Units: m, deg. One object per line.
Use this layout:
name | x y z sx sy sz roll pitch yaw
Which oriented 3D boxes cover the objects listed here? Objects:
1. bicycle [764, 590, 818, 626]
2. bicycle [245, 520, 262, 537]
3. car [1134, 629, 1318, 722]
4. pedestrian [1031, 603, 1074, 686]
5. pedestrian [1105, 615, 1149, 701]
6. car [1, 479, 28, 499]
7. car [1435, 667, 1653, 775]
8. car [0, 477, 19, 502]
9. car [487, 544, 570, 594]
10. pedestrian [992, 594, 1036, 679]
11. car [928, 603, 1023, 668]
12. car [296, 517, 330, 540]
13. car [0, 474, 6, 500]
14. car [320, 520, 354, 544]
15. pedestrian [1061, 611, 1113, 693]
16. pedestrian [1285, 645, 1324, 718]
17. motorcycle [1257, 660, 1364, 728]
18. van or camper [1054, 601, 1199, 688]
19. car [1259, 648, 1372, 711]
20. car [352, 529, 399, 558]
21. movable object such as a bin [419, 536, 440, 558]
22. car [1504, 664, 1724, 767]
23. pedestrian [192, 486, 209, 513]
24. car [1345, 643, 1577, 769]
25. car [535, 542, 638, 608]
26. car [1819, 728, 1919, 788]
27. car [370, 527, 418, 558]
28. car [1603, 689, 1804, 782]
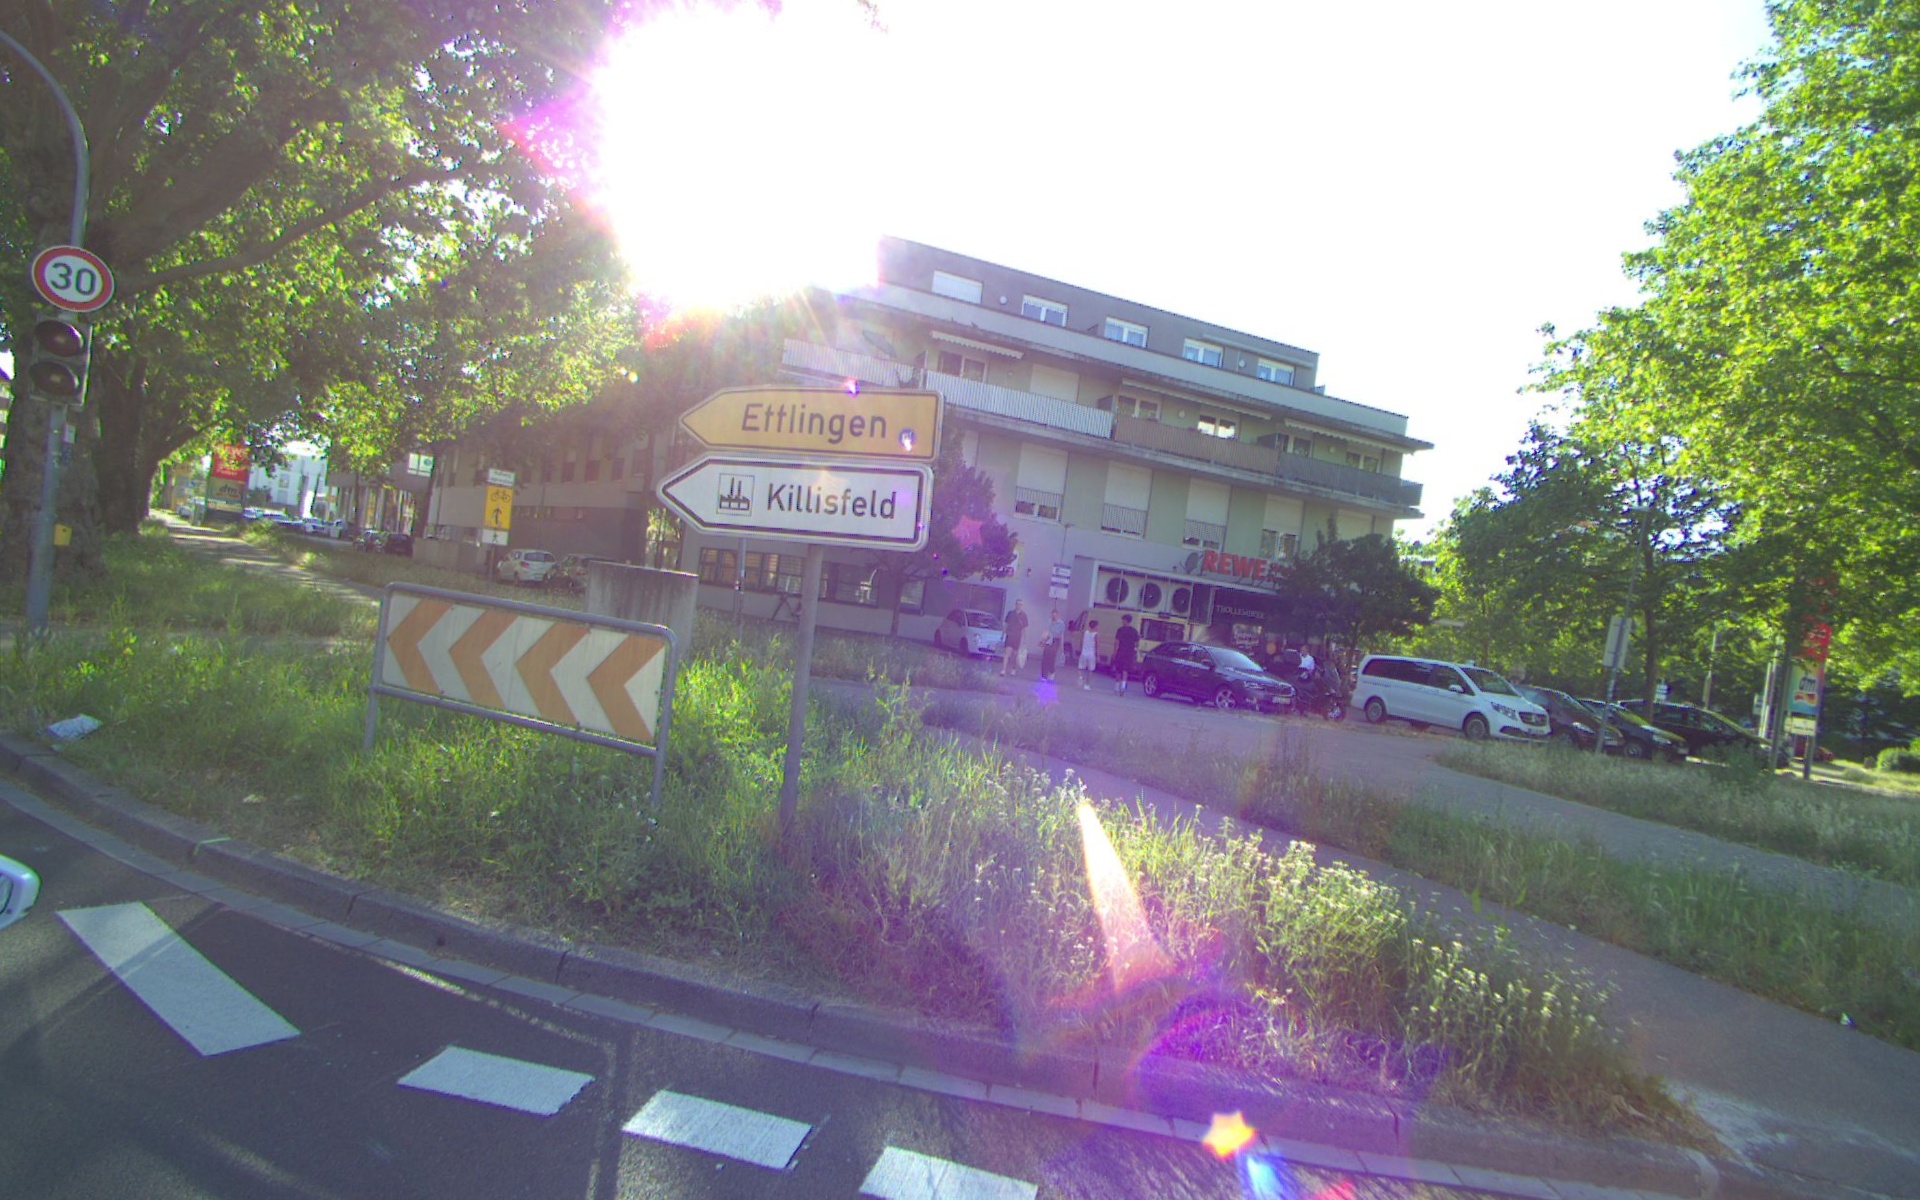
bicycle | -5.819 0.268 34.696 1.657 1.030 0.585 7 1 -21
bicycle | -49.878 -5.056 70.995 1.462 1.016 0.383 7 1 34
car | 5.916 1.660 22.868 1.657 1.541 3.959 8 -1 -28
pedestrian | 2.265 1.078 24.592 0.788 1.903 0.785 7 1 5
pedestrian | 3.778 1.290 22.787 0.673 1.832 0.964 7 1 5
car | -89.466 -10.484 95.179 1.543 1.541 3.958 10 -2 -41
car | 15.479 3.168 27.017 1.975 1.798 4.603 8 3 -23
car | -80.527 -9.358 84.523 1.740 1.808 4.495 10 -2 -41
car | -17.417 -1.272 40.472 1.851 1.561 4.272 8 0 -39
pedestrian | 1.336 0.884 24.549 0.767 1.956 0.839 7 1 7
car | 0.446 1.124 32.970 1.654 1.474 3.535 8 3 -23
car | -60.263 -6.672 93.677 1.869 1.755 4.130 7 0 -42
car | -72.205 -8.559 74.429 1.727 1.929 5.153 9 -1 -38
car | -58.673 -6.417 94.746 1.979 1.755 4.131 8 0 -41
pedestrian | 2.891 1.171 22.939 0.932 1.719 0.884 7 1 5
pedestrian | 8.710 2.060 25.445 0.554 1.772 0.528 8 -1 -28
motorcycle | 8.400 2.230 24.245 0.941 1.263 2.301 7 0 -27
van or camper | 5.508 1.426 34.245 2.234 2.274 5.343 7 0 -21
car | 12.464 2.758 35.504 1.558 1.653 3.657 8 0 -23
car | -39.243 -3.818 67.529 1.852 1.486 4.075 8 0 -41
movable object such as a bin | -39.233 -3.916 74.430 1.183 1.481 1.397 7 0 -28
car | 17.939 3.117 27.887 1.975 1.798 4.603 8 3 -23
pedestrian | -53.480 -7.046 70.825 0.654 1.784 0.766 8 2 40
car | 12.649 2.604 25.848 1.975 2.124 5.019 8 3 -23
car | -12.889 -0.894 34.586 1.897 1.792 4.272 7 0 -39
car | 35.683 6.109 38.342 4.043 1.819 1.997 6 -2 32
car | -34.830 -3.552 61.905 1.851 1.571 3.718 8 0 -39
car | 23.133 4.162 31.432 1.988 1.799 4.574 7 4 -43
